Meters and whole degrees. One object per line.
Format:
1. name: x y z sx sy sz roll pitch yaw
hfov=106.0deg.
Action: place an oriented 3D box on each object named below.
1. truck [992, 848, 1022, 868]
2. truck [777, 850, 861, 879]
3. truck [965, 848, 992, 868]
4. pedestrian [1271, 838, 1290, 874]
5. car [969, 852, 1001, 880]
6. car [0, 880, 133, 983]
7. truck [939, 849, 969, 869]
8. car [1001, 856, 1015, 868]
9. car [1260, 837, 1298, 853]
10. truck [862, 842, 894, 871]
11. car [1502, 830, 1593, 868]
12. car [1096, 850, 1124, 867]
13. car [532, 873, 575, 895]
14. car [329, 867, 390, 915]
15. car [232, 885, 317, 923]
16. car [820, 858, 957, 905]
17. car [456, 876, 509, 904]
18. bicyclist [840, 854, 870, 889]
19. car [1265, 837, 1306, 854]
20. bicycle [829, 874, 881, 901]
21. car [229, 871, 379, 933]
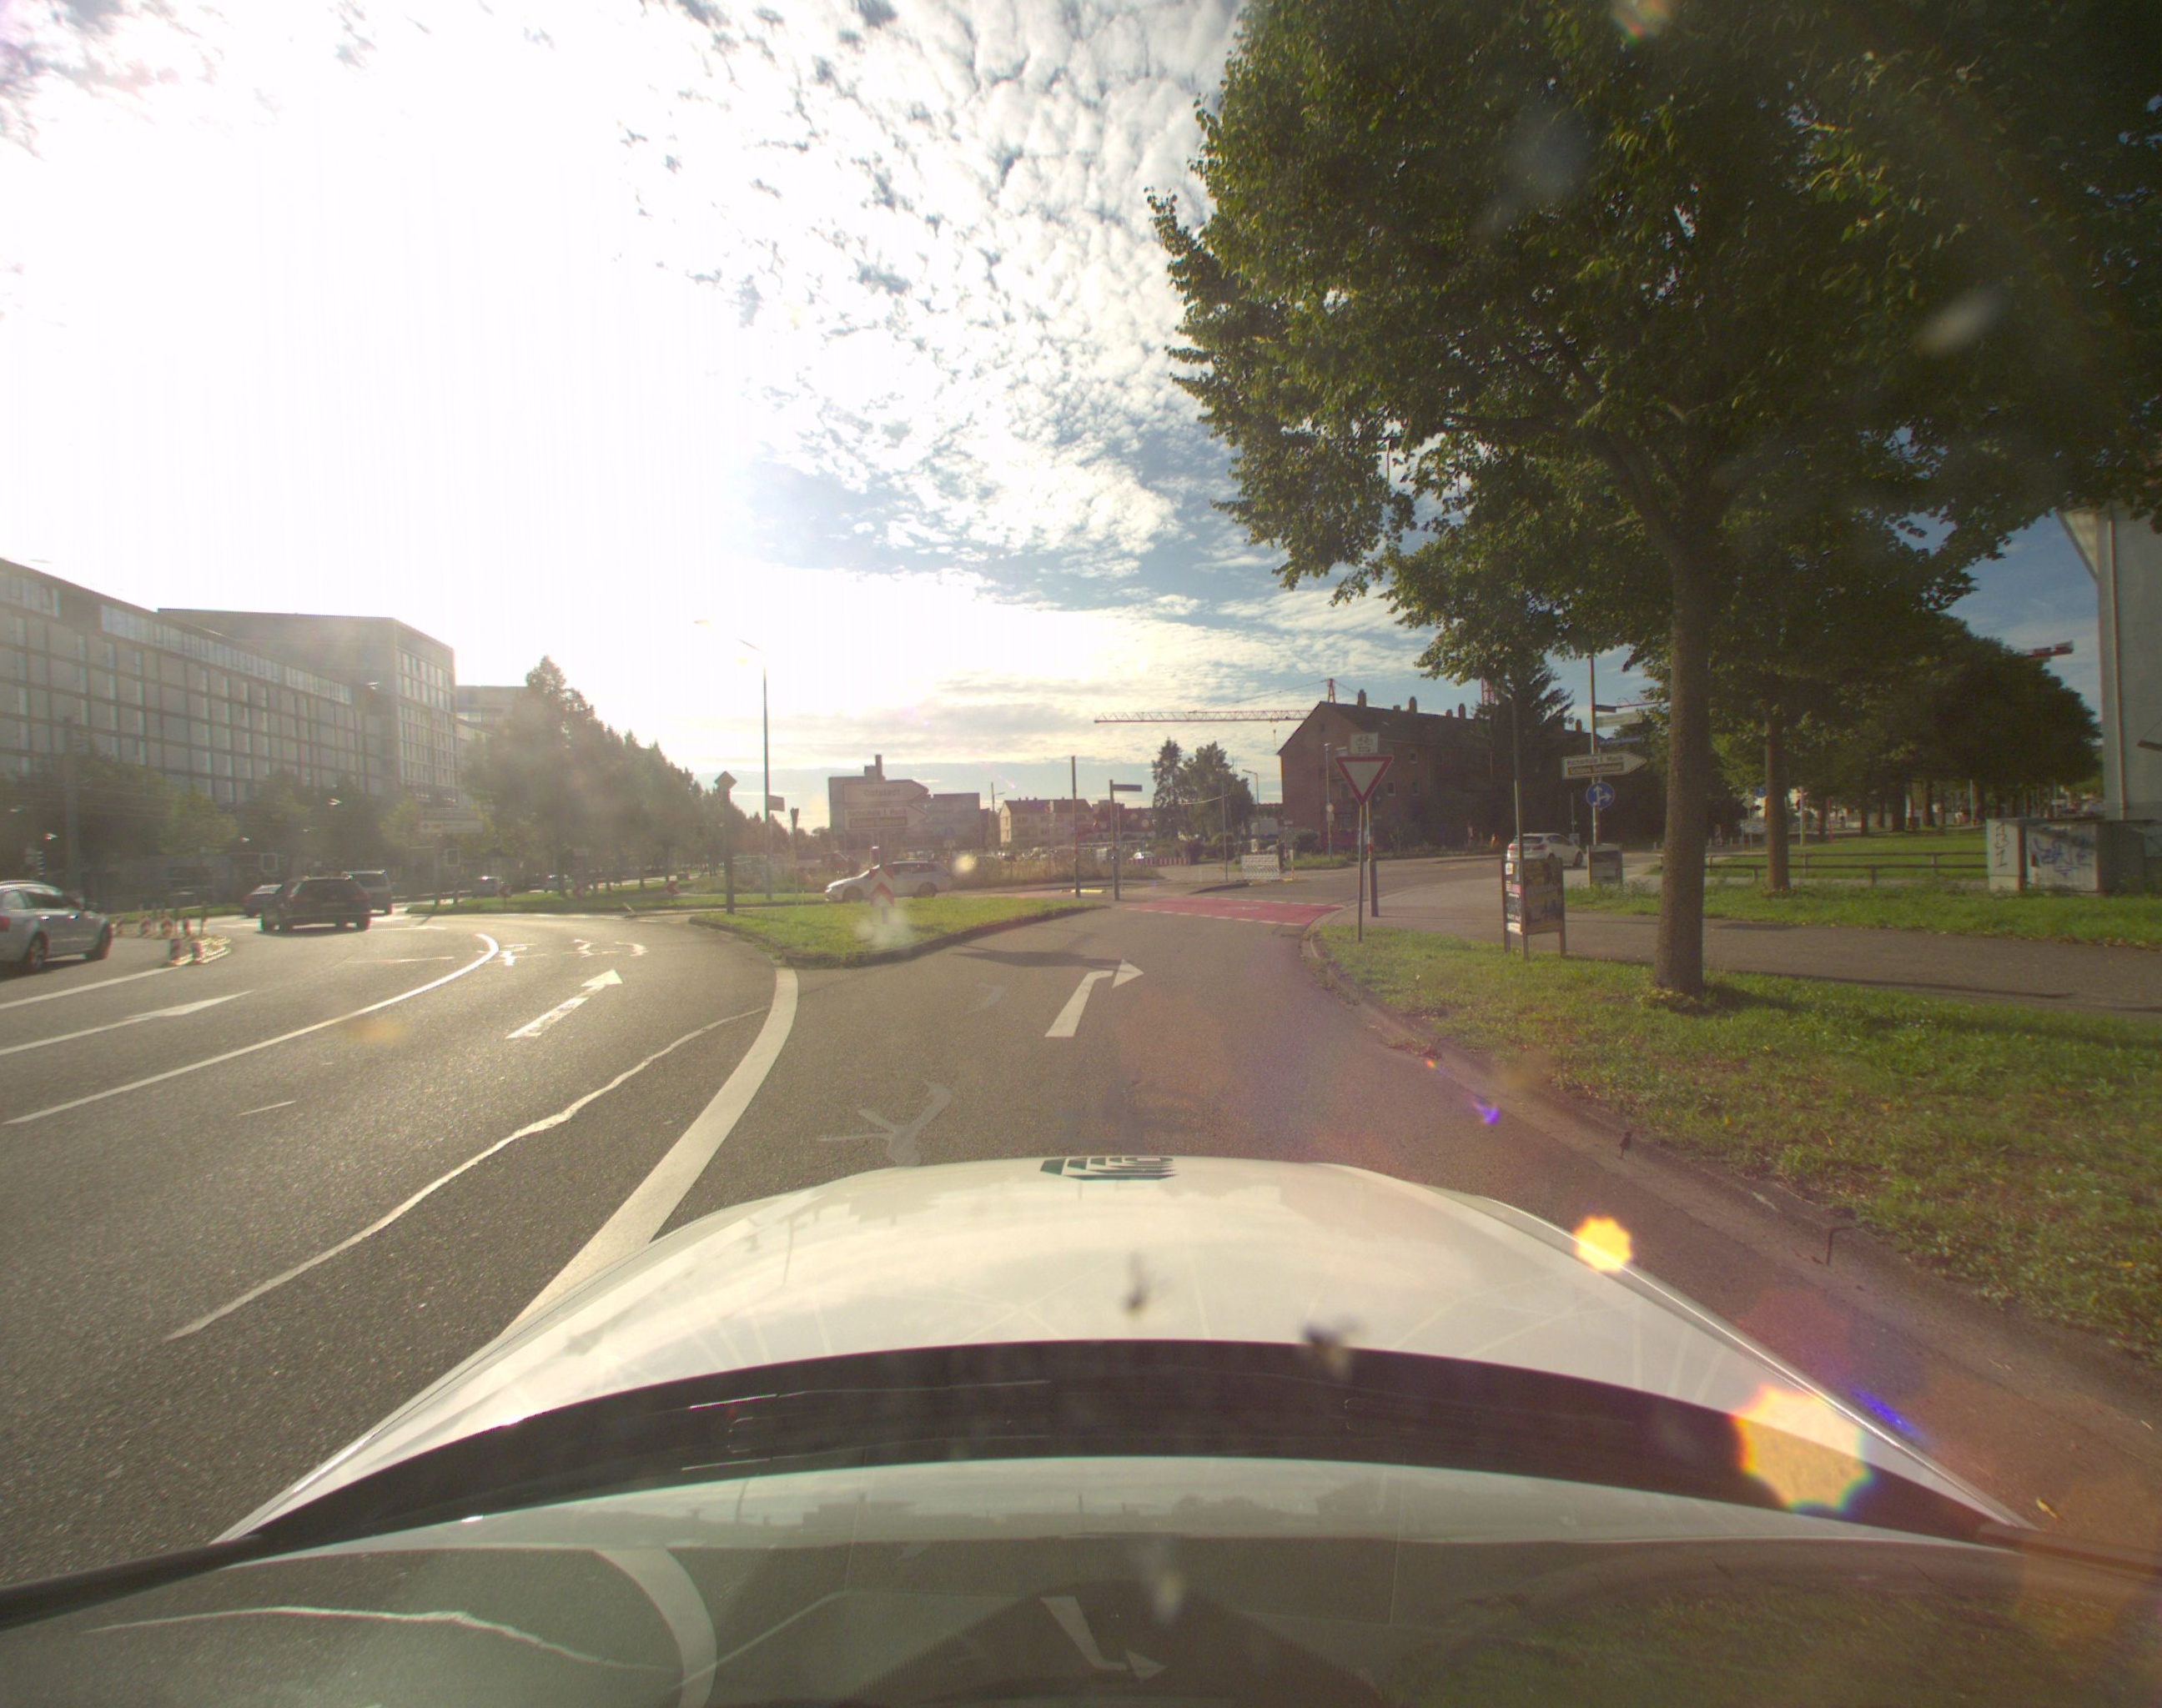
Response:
1. truck: -9.243 0.510 101.592 2.294 2.328 5.600 -2 0 -20
2. truck: -26.470 0.998 82.496 7.854 2.567 3.056 -2 0 -17
3. truck: -12.727 0.502 100.873 2.064 2.328 5.600 -2 0 -20
4. pedestrian: 10.626 0.104 43.338 0.660 1.870 0.841 -2 0 38
5. car: -6.670 0.790 57.083 1.875 1.816 3.996 -2 0 -3
6. car: -17.935 1.228 13.436 1.864 1.445 4.588 -2 0 -35
7. truck: -15.656 0.635 99.901 2.335 2.328 6.408 -2 0 -20
8. car: -12.619 1.357 140.681 1.994 1.859 3.985 -2 0 -11
9. car: 22.065 -1.032 90.905 3.962 1.618 1.779 -2 0 10
10. truck: -24.089 0.285 96.246 2.817 3.207 7.266 -2 0 -20
11. car: 21.116 -0.265 36.789 4.473 1.572 1.837 -2 1 -35
12. car: 3.259 0.476 92.920 1.885 1.816 3.974 -2 0 -19
13. car: -44.690 2.500 69.094 1.902 1.610 4.631 -2 0 -19
14. car: -32.277 1.573 36.429 1.913 1.903 4.605 -2 1 -42
15. car: -37.465 2.273 37.941 1.909 1.431 4.612 -2 1 -34
16. car: -7.022 0.962 29.755 4.552 1.452 1.808 -2 0 -27
17. car: -46.225 2.733 63.046 1.901 1.903 4.632 -2 0 -18
18. bicyclist: -9.955 0.765 35.869 0.998 1.511 0.708 -3 0 20
19. car: 21.371 -0.900 85.155 3.953 1.618 1.783 -2 0 21
20. bicycle: -9.951 1.473 35.850 2.178 1.063 0.709 -2 0 22
21. car: -22.152 1.350 23.176 4.781 1.567 2.013 -3 -2 33
